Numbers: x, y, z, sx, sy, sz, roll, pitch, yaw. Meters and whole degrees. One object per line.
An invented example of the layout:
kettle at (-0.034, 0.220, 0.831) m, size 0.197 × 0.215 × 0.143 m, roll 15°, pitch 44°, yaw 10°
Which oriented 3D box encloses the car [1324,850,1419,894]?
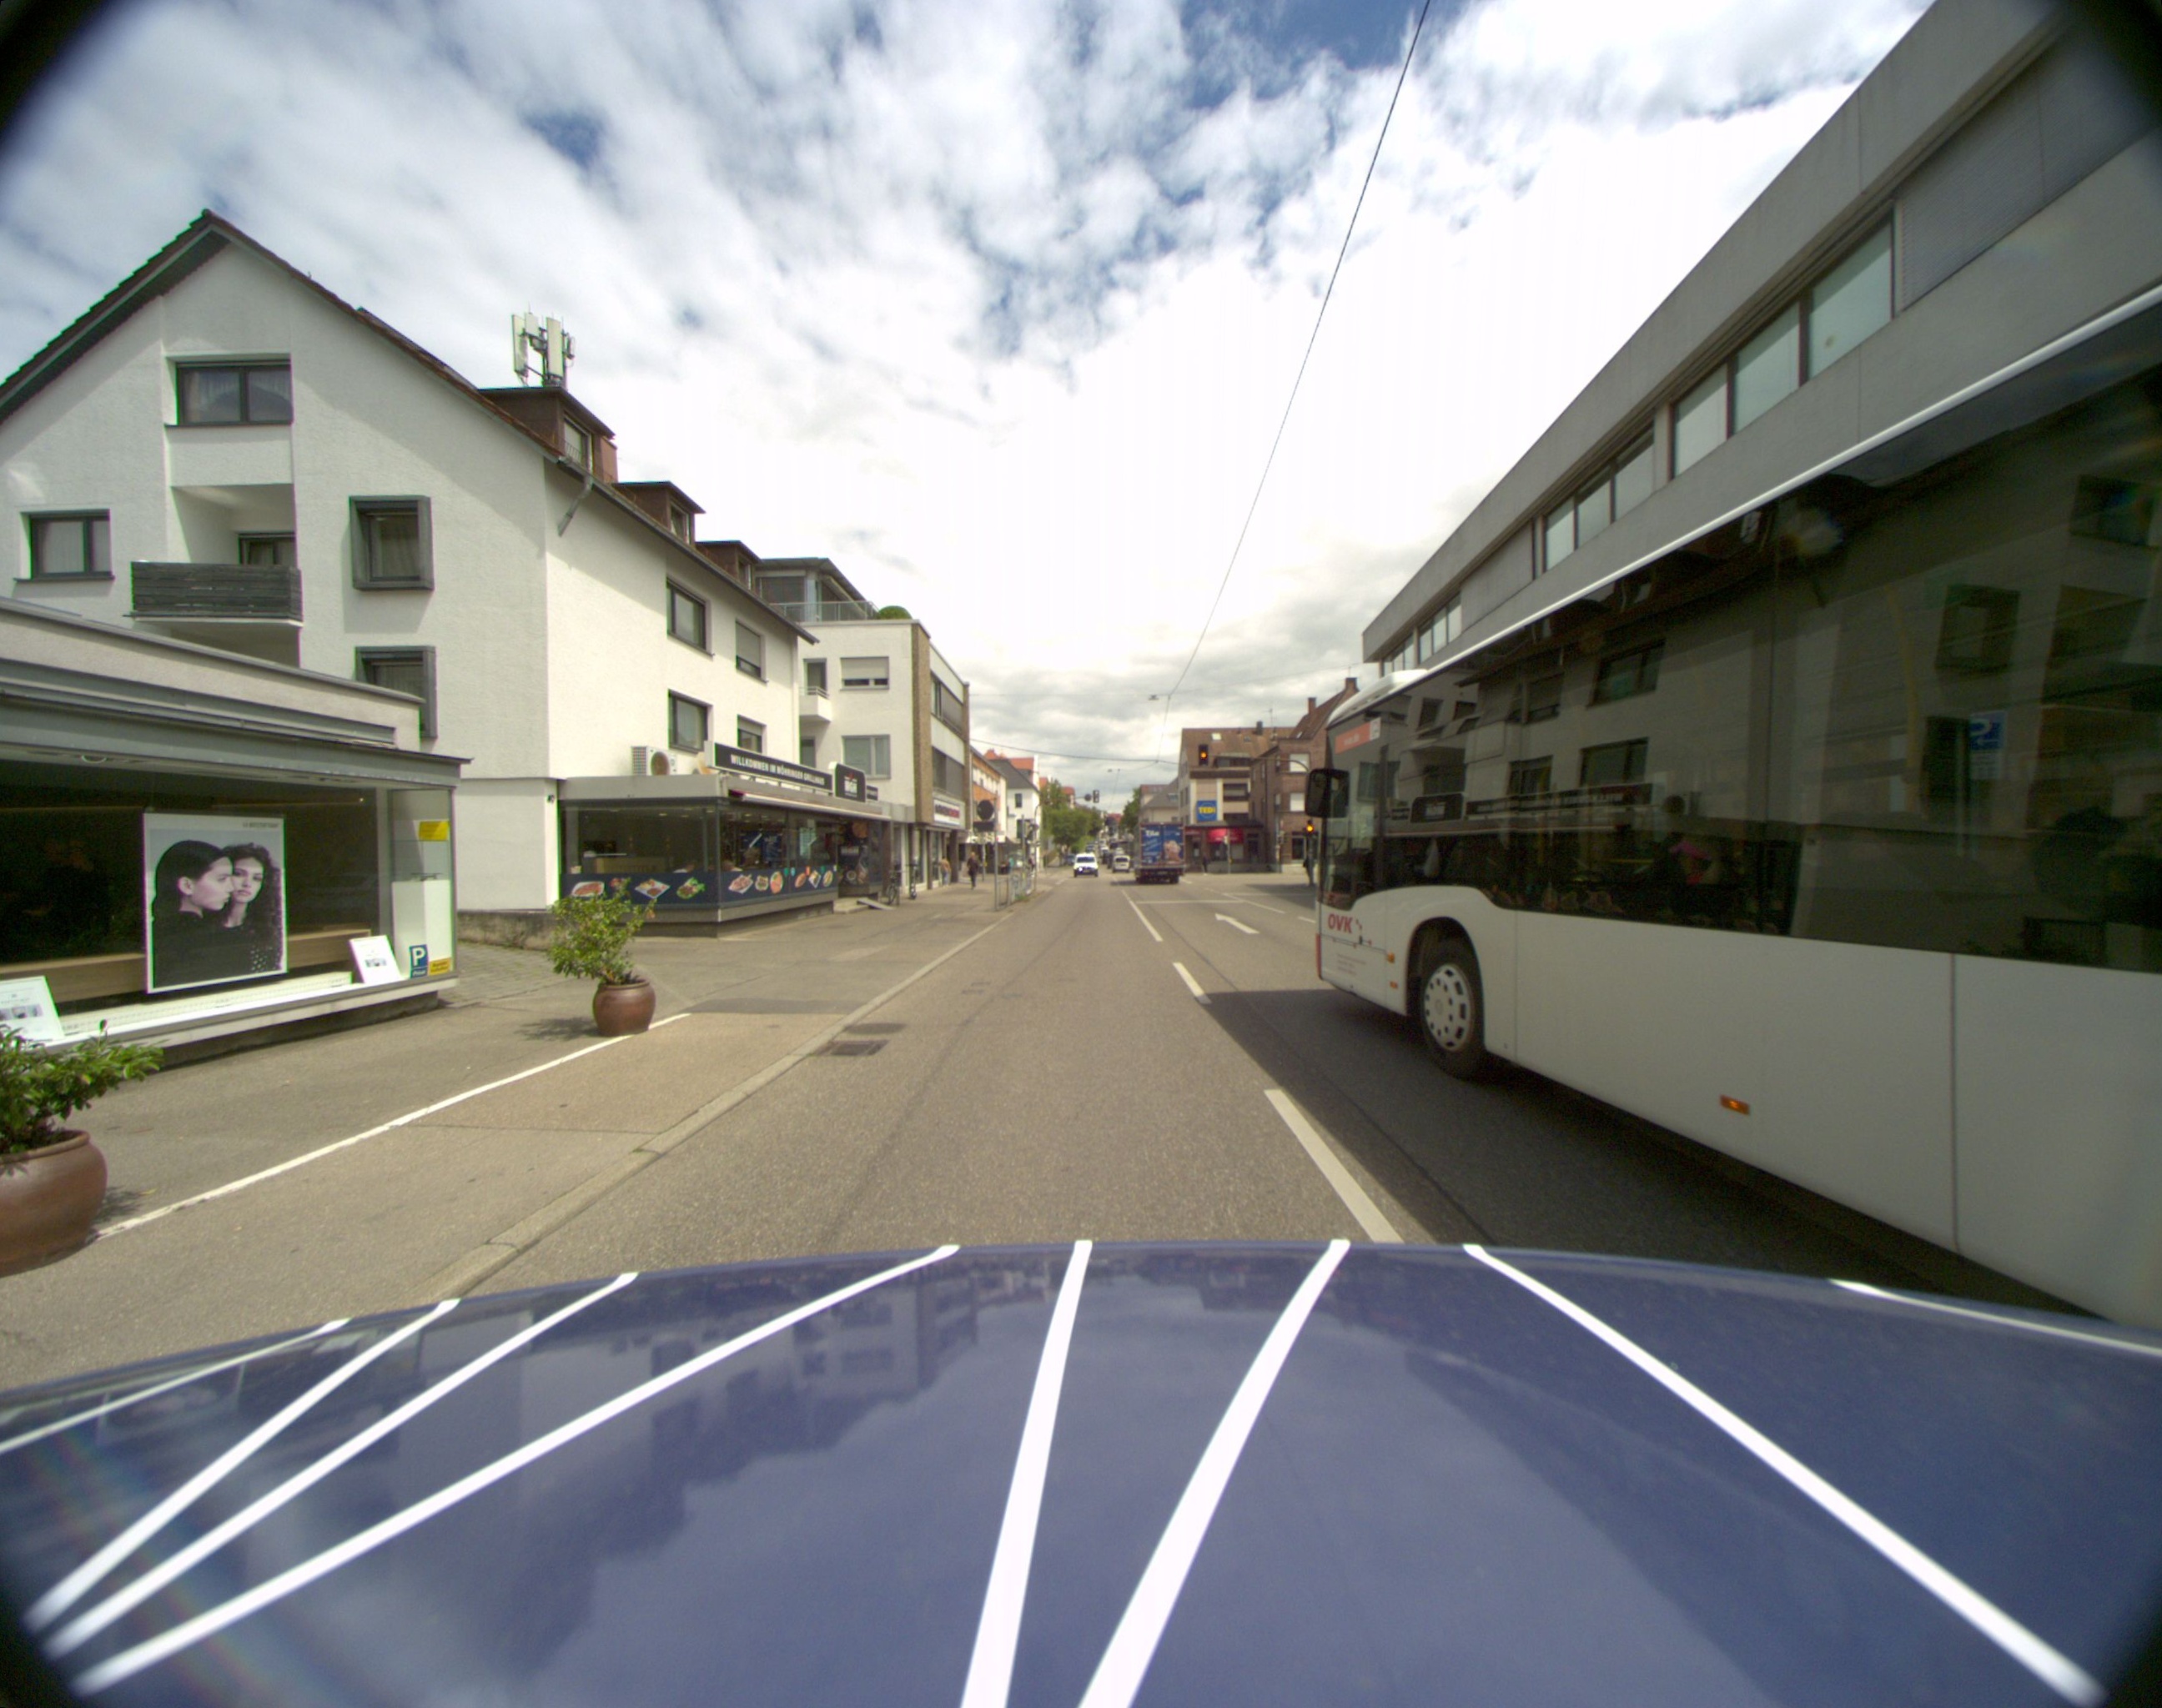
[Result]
car at (10.650, 0.615, 28.235) m, size 2.049 × 1.467 × 4.286 m, roll -2°, pitch 0°, yaw 3°

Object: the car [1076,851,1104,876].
car at (0.652, 0.698, 58.255) m, size 1.999 × 1.797 × 4.765 m, roll -2°, pitch 0°, yaw -1°

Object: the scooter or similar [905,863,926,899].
scooter or similar at (-6.064, 0.977, 27.868) m, size 0.690 × 1.260 × 1.184 m, roll 0°, pitch 1°, yaw -11°

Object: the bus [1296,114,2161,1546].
bus at (3.688, -0.060, 2.671) m, size 2.689 × 3.145 × 10.181 m, roll 0°, pitch 0°, yaw -2°

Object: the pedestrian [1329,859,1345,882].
pedestrian at (12.041, 0.758, 35.762) m, size 0.560 × 1.051 × 0.662 m, roll -2°, pitch 0°, yaw 7°

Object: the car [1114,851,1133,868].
car at (4.593, 0.599, 82.451) m, size 1.950 × 1.810 × 4.278 m, roll 0°, pitch 0°, yaw 1°

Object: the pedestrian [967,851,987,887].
pedestrian at (-4.843, 0.709, 35.491) m, size 0.797 × 1.661 × 0.807 m, roll 0°, pitch 1°, yaw 1°

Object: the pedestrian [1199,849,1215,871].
pedestrian at (9.766, 0.472, 59.009) m, size 0.908 × 1.713 × 0.849 m, roll -1°, pitch 1°, yaw -40°

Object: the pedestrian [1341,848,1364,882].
pedestrian at (12.684, 0.486, 35.485) m, size 0.820 × 1.545 × 0.846 m, roll -2°, pitch 0°, yaw 7°

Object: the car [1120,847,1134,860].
car at (7.370, -0.069, 121.652) m, size 2.110 × 2.109 × 4.765 m, roll -1°, pitch 0°, yaw 1°

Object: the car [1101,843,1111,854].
car at (4.536, -0.972, 136.455) m, size 1.819 × 1.919 × 4.112 m, roll 0°, pitch 0°, yaw 2°

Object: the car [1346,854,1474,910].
car at (9.668, 0.750, 22.824) m, size 2.048 × 1.436 × 4.954 m, roll -2°, pitch 0°, yaw 5°

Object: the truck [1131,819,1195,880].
truck at (4.420, -0.262, 42.573) m, size 2.860 × 3.075 × 8.089 m, roll 0°, pitch 0°, yaw 1°

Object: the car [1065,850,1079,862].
car at (-1.325, 0.286, 111.660) m, size 1.998 × 1.654 × 4.000 m, roll 0°, pitch 0°, yaw 1°

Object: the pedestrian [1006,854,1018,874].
pedestrian at (-5.213, 0.753, 57.709) m, size 0.779 × 1.517 × 0.819 m, roll 0°, pitch 1°, yaw 4°

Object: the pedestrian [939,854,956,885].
pedestrian at (-6.522, 0.757, 37.068) m, size 0.681 × 1.490 × 0.720 m, roll 0°, pitch 1°, yaw 1°

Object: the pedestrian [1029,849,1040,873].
pedestrian at (-3.561, 0.543, 58.553) m, size 0.581 × 1.820 × 0.882 m, roll 1°, pitch 1°, yaw 18°

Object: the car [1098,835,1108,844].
car at (5.160, -3.301, 178.124) m, size 1.982 × 1.985 × 5.028 m, roll 0°, pitch 0°, yaw -1°

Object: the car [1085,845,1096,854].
car at (1.705, -0.851, 139.698) m, size 1.998 × 1.654 × 4.000 m, roll 0°, pitch 0°, yaw 1°

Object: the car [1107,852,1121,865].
car at (4.294, 0.531, 99.130) m, size 1.681 × 1.626 × 2.833 m, roll 0°, pitch 0°, yaw 0°

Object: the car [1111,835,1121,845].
car at (8.096, -3.183, 173.963) m, size 2.110 × 2.109 × 4.765 m, roll -1°, pitch 0°, yaw 1°

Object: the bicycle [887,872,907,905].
bicycle at (-6.067, 1.113, 25.153) m, size 0.476 × 1.022 × 1.635 m, roll 0°, pitch 0°, yaw -8°

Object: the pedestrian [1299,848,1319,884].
pedestrian at (10.702, 0.561, 35.649) m, size 0.719 × 1.635 × 0.682 m, roll -2°, pitch 1°, yaw 6°

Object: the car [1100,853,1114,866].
car at (3.982, 0.846, 116.947) m, size 1.953 × 1.866 × 4.876 m, roll 0°, pitch 1°, yaw 0°

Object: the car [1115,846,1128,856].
car at (7.462, -0.517, 140.690) m, size 2.110 × 1.778 × 4.529 m, roll -1°, pitch 0°, yaw 1°
